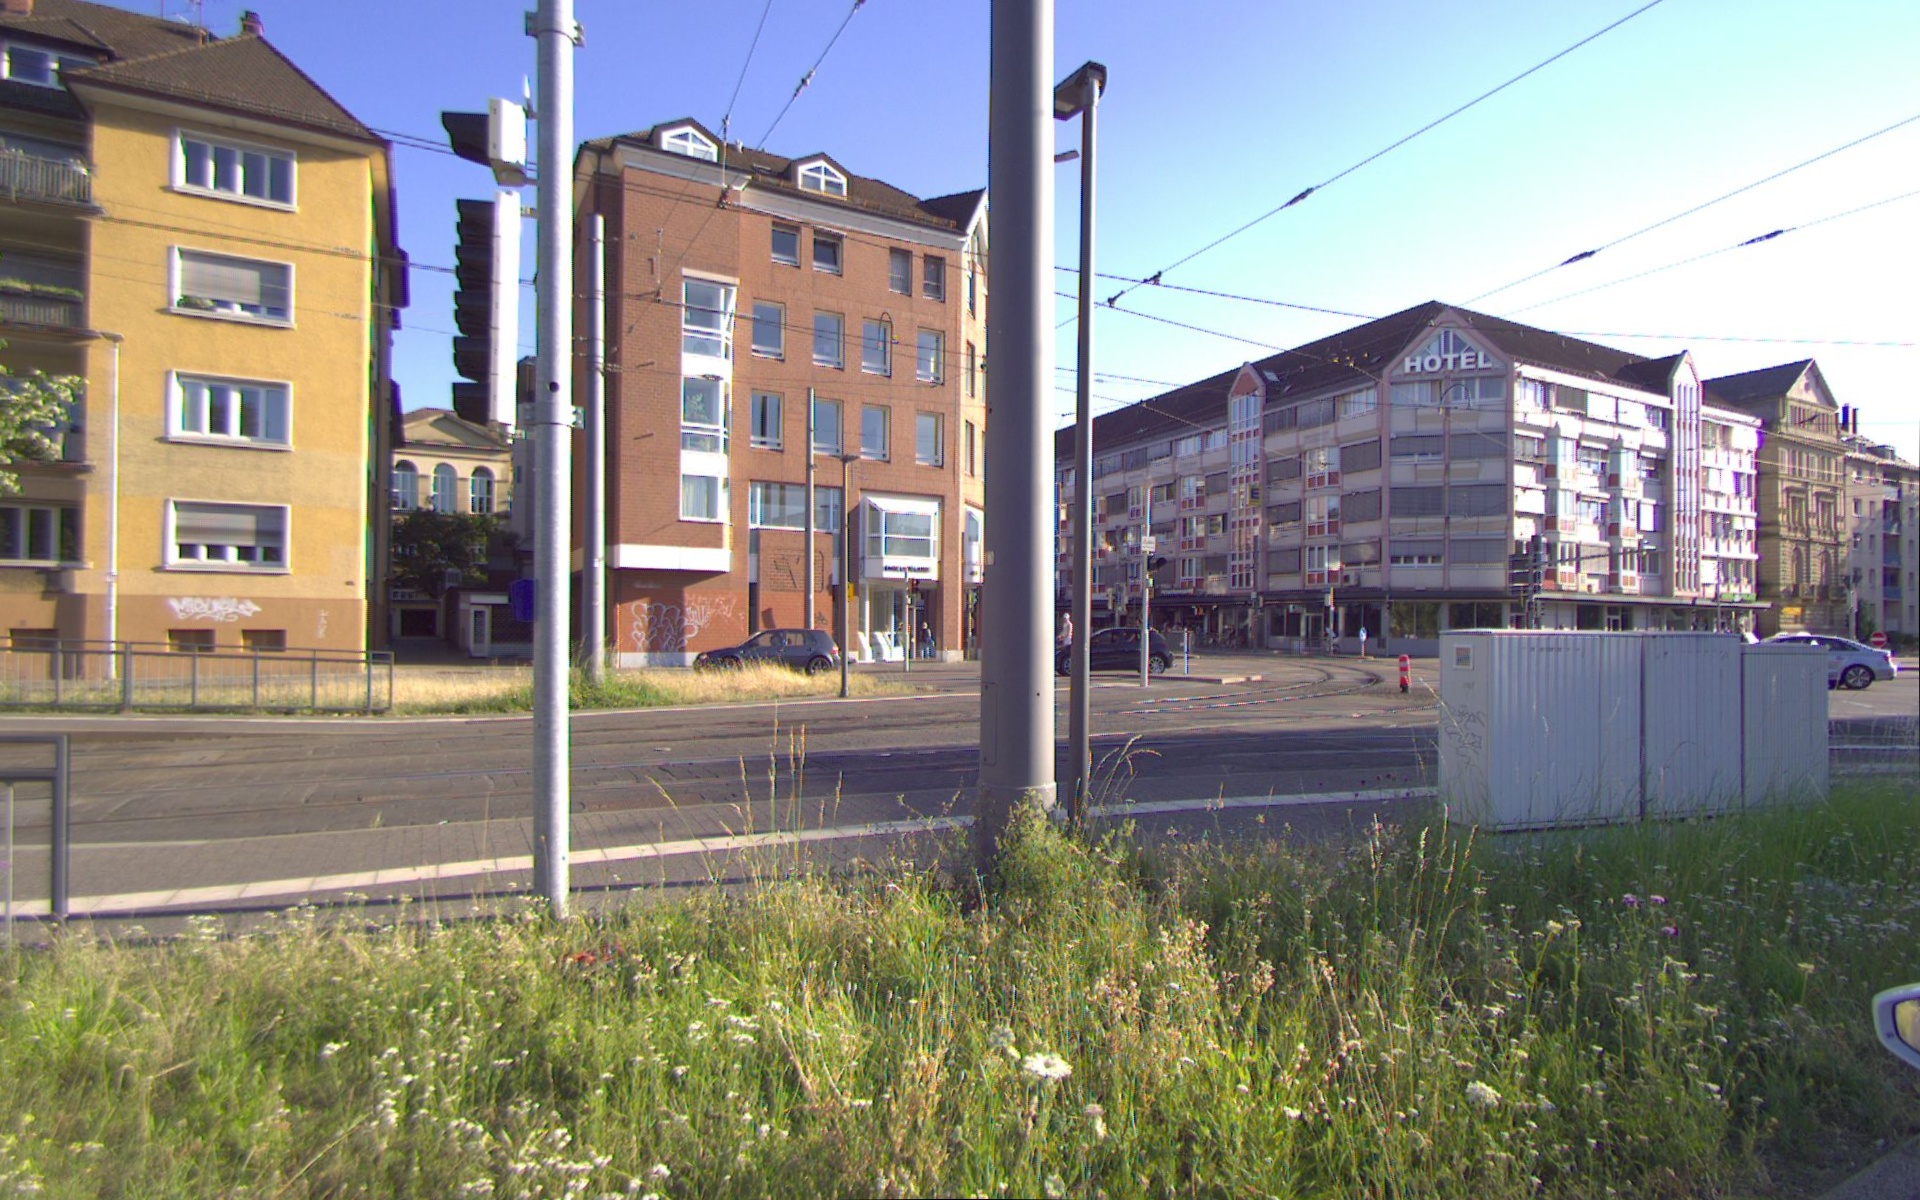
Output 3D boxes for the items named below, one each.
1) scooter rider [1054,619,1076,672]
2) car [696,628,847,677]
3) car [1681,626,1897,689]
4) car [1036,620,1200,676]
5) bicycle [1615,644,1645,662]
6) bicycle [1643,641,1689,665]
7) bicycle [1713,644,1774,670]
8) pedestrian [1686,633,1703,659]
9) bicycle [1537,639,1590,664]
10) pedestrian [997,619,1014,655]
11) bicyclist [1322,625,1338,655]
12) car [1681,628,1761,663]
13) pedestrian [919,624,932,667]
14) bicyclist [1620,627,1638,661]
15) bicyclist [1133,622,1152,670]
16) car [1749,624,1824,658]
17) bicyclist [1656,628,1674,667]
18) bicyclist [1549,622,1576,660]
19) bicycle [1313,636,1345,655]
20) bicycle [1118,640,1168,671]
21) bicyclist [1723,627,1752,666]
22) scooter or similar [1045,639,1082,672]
[{"bbox_3d":[3.517,1.521,33.676,0.653,1.734,0.526,0,-1,-6],"label":"scooter rider"},{"bbox_3d":[-5.334,1.444,28.342,3.939,1.305,1.839,1,-2,-20],"label":"car"},{"bbox_3d":[22.817,1.547,27.897,4.266,1.617,1.998,-1,-2,27],"label":"car"},{"bbox_3d":[4.736,1.439,30.593,4.686,1.617,2.000,0,-2,-1],"label":"car"},{"bbox_3d":[36.957,2.912,55.379,1.813,0.927,0.596,1,-2,-28],"label":"bicycle"},{"bbox_3d":[37.254,2.797,53.003,1.936,1.216,0.607,0,-1,38],"label":"bicycle"},{"bbox_3d":[36.371,2.623,46.644,0.652,1.152,2.161,1,-2,-33],"label":"bicycle"},{"bbox_3d":[46.437,2.891,63.506,0.695,1.626,0.623,1,-1,-28],"label":"pedestrian"},{"bbox_3d":[28.427,2.401,47.355,0.651,1.152,2.081,1,-2,-33],"label":"bicycle"},{"bbox_3d":[2.572,2.103,57.256,0.713,2.040,0.712,1,-1,-26],"label":"pedestrian"},{"bbox_3d":[21.522,2.328,58.423,0.534,1.734,0.658,1,-2,-39],"label":"bicyclist"},{"bbox_3d":[41.706,2.483,55.044,3.949,1.884,1.986,1,-2,-28],"label":"car"},{"bbox_3d":[-1.473,1.955,43.225,0.532,1.831,0.502,0,-1,-2],"label":"pedestrian"},{"bbox_3d":[36.972,2.439,55.473,0.634,1.886,0.590,1,-2,-28],"label":"bicyclist"},{"bbox_3d":[6.556,1.645,36.087,0.652,1.734,0.539,0,-1,8],"label":"bicyclist"},{"bbox_3d":[48.369,2.386,58.789,3.949,1.884,1.986,1,-2,-28],"label":"car"},{"bbox_3d":[37.228,2.485,53.020,0.767,2.040,0.602,0,-1,37],"label":"bicyclist"},{"bbox_3d":[28.423,1.939,47.378,0.648,1.776,0.893,1,-2,-33],"label":"bicyclist"},{"bbox_3d":[21.466,2.668,58.483,0.535,1.073,1.718,1,-2,-39],"label":"bicycle"},{"bbox_3d":[6.578,1.973,36.074,1.745,1.086,0.535,0,-1,8],"label":"bicycle"},{"bbox_3d":[36.253,2.150,46.827,0.643,1.776,0.893,1,-2,-33],"label":"bicyclist"},{"bbox_3d":[3.475,1.846,33.668,1.153,1.086,0.529,0,-1,-6],"label":"scooter or similar"}]
